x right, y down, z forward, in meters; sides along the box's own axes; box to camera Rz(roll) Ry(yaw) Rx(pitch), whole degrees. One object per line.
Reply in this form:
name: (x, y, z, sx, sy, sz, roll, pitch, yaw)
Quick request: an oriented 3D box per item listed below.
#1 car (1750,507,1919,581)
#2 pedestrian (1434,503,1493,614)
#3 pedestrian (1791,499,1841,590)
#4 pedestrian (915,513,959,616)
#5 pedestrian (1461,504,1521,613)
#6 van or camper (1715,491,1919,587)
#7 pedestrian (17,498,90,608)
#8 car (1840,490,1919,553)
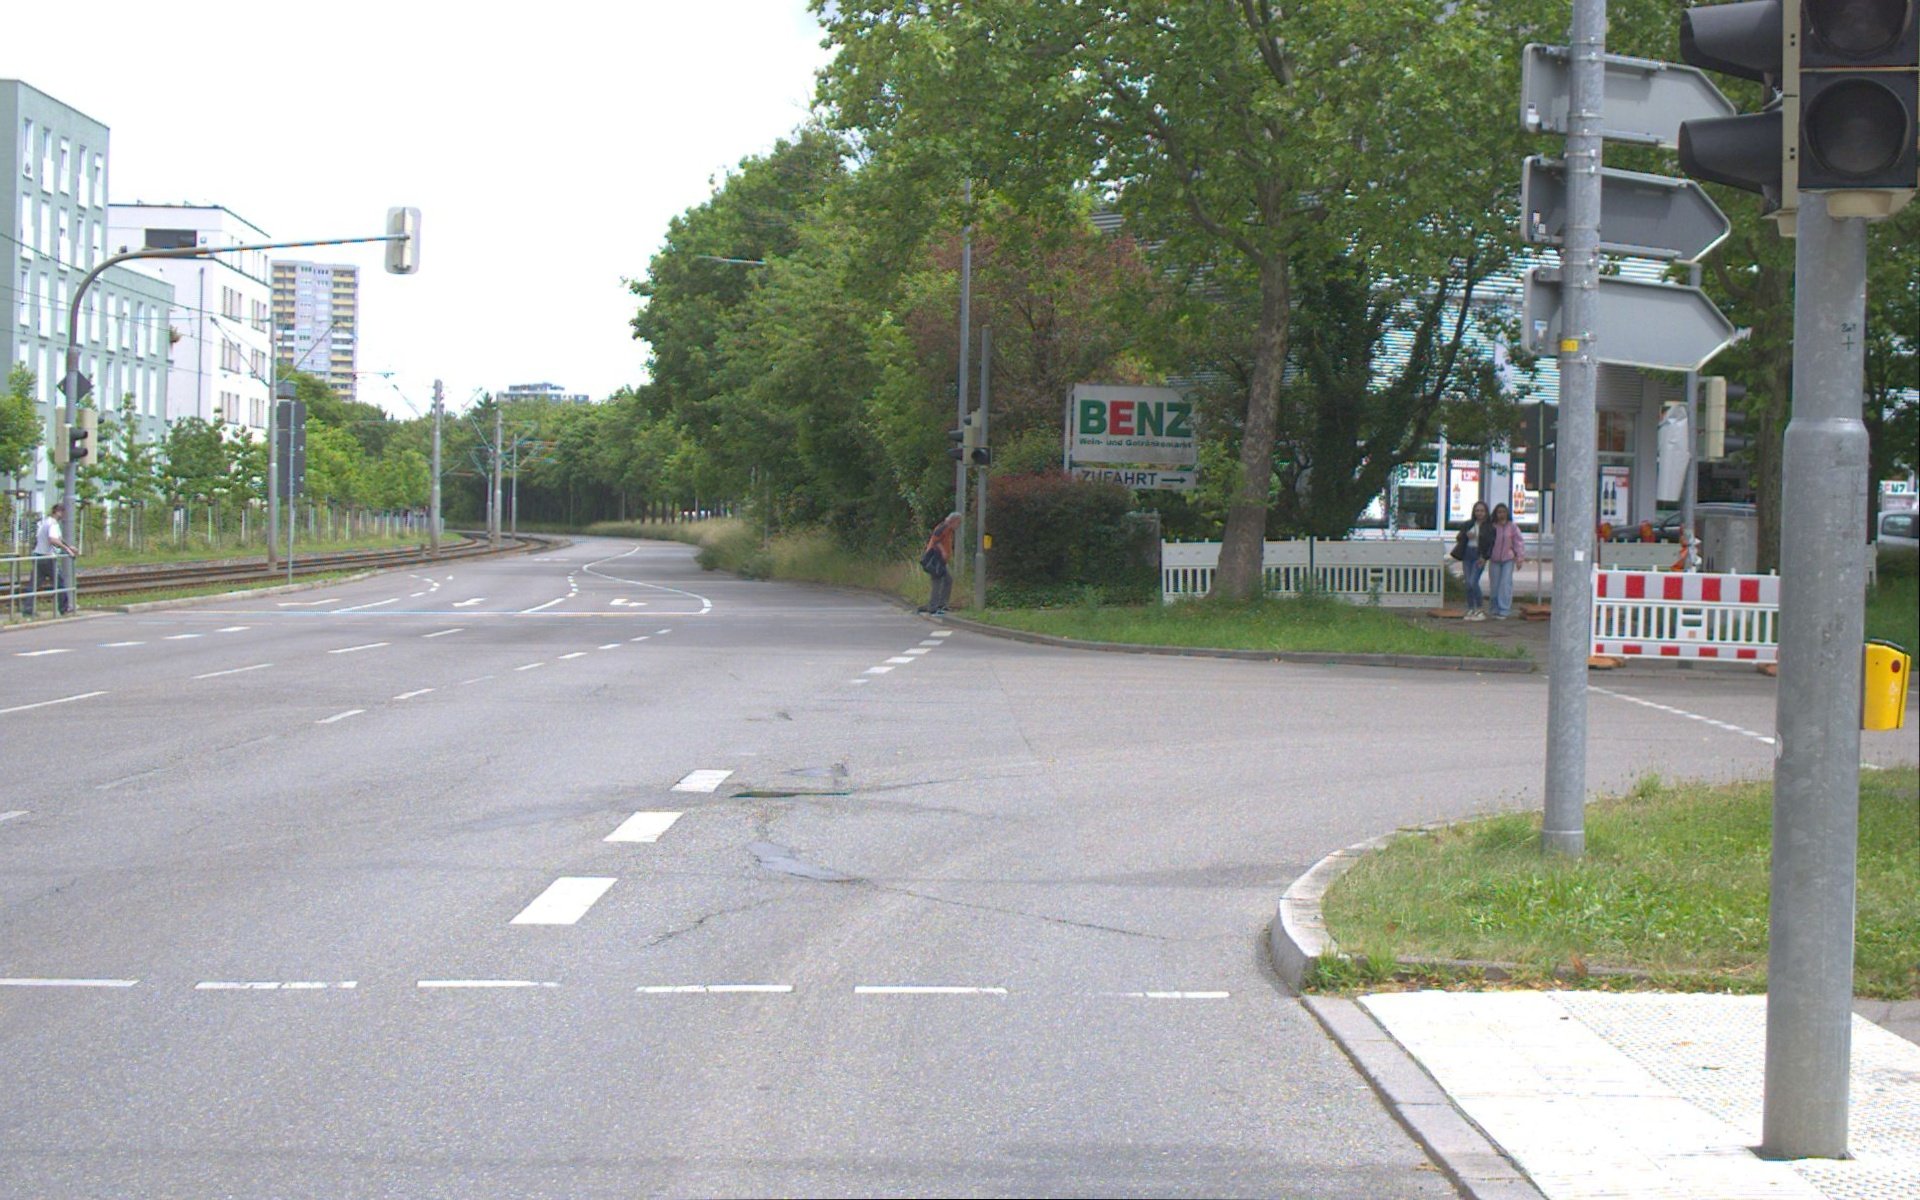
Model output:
car: (18.065, -1.136, 70.327, 3.396, 1.440, 1.485, 1, 1, -18)
pedestrian: (6.853, -0.565, 46.820, 0.718, 1.484, 0.699, 1, 0, 4)
pedestrian: (18.793, -1.218, 75.521, 0.804, 1.995, 0.853, 1, 0, -5)
pedestrian: (-0.346, -0.536, 51.914, 0.653, 1.533, 0.773, 1, 0, 0)
pedestrian: (7.340, -0.575, 47.492, 0.686, 1.484, 0.699, 1, 0, 19)
van or camper: (15.664, -1.116, 61.994, 1.840, 1.678, 4.001, -1, 2, -28)
pedestrian: (-13.216, -0.688, 50.145, 0.848, 1.581, 0.796, 1, 0, -2)
car: (21.822, -1.785, 78.216, 1.480, 1.399, 3.409, 0, 1, -31)
